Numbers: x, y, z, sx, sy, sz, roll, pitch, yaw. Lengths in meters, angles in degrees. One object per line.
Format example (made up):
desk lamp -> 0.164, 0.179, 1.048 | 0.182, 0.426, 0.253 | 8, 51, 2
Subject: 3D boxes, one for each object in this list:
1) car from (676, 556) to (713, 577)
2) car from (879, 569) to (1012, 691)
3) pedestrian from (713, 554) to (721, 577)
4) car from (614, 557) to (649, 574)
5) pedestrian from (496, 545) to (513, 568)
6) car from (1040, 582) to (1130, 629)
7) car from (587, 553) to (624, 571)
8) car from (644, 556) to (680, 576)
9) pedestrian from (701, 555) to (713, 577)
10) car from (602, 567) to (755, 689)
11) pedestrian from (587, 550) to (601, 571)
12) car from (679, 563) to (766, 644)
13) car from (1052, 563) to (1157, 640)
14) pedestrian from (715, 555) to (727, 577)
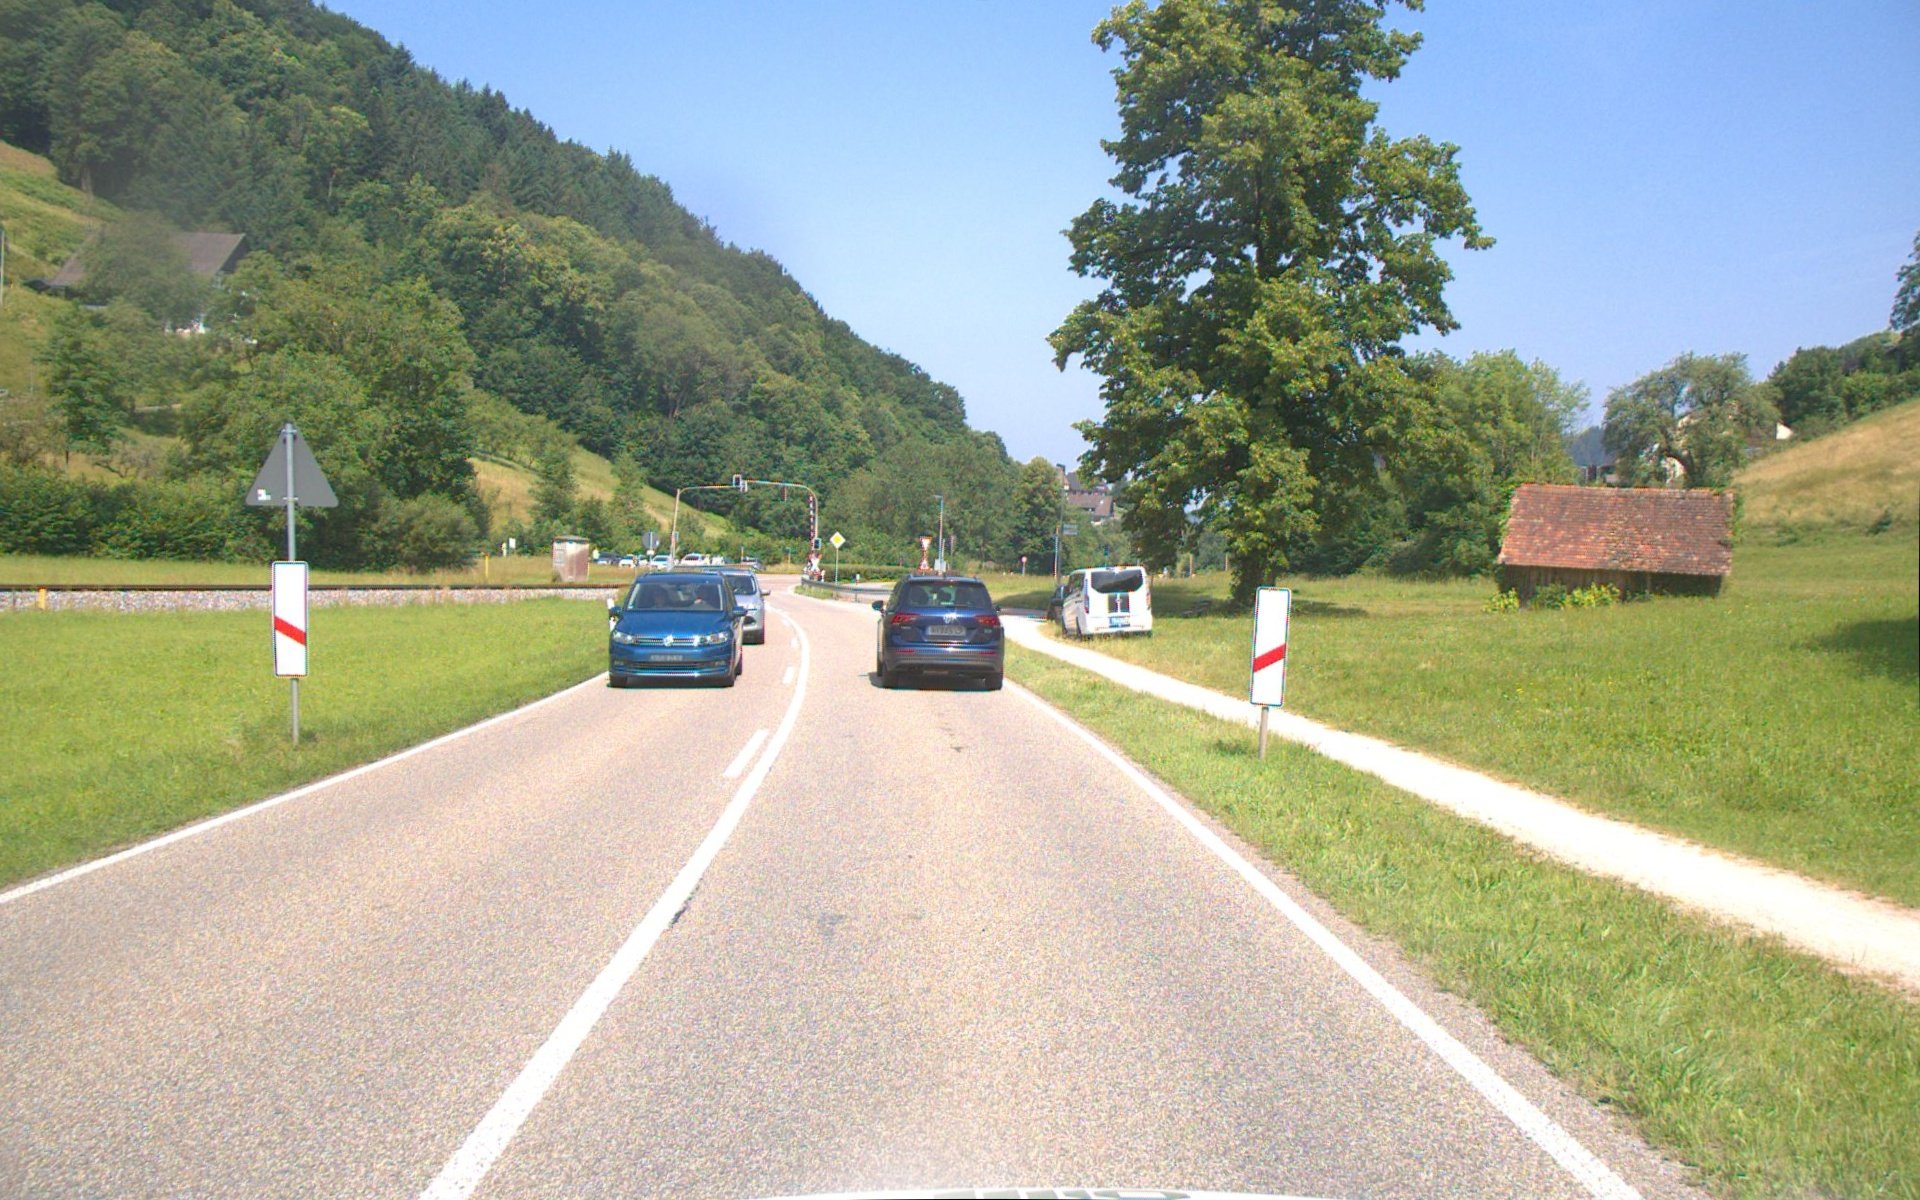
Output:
car -> -23.760, -3.009, 148.073 | 1.831, 1.813, 4.776 | 2, 1, 8
car -> -0.302, 0.389, 25.318 | 1.816, 1.678, 4.137 | 1, 1, -3
pedestrian -> -20.657, -2.923, 140.486 | 0.647, 1.989, 0.532 | 1, 1, -5
car -> -29.226, -3.065, 147.440 | 1.952, 1.527, 4.524 | 1, 1, 3
pedestrian -> -39.363, -3.752, 142.911 | 1.103, 2.003, 0.862 | 1, 1, 21
car -> 4.040, 0.170, 53.968 | 1.648, 1.482, 3.696 | -1, 0, -19
car -> -31.657, -3.381, 147.840 | 1.952, 1.526, 4.524 | 4, 1, 3
car -> -26.581, -3.021, 147.681 | 1.951, 1.670, 4.905 | 1, 1, 5
pedestrian -> -21.451, -2.864, 140.279 | 0.771, 1.874, 0.699 | 1, 1, 16
car -> -4.168, 0.347, 25.115 | 1.829, 1.652, 4.507 | 1, 1, -4
pedestrian -> -31.280, -3.372, 141.405 | 0.935, 1.825, 0.999 | 1, 1, -3
car -> -5.514, 0.035, 38.628 | 1.879, 1.744, 4.153 | 1, 1, -8
car -> 3.883, -0.010, 45.246 | 1.960, 1.880, 4.864 | -3, 1, -5
pedestrian -> -20.418, -2.888, 141.181 | 0.637, 1.891, 0.767 | 1, 1, 39
